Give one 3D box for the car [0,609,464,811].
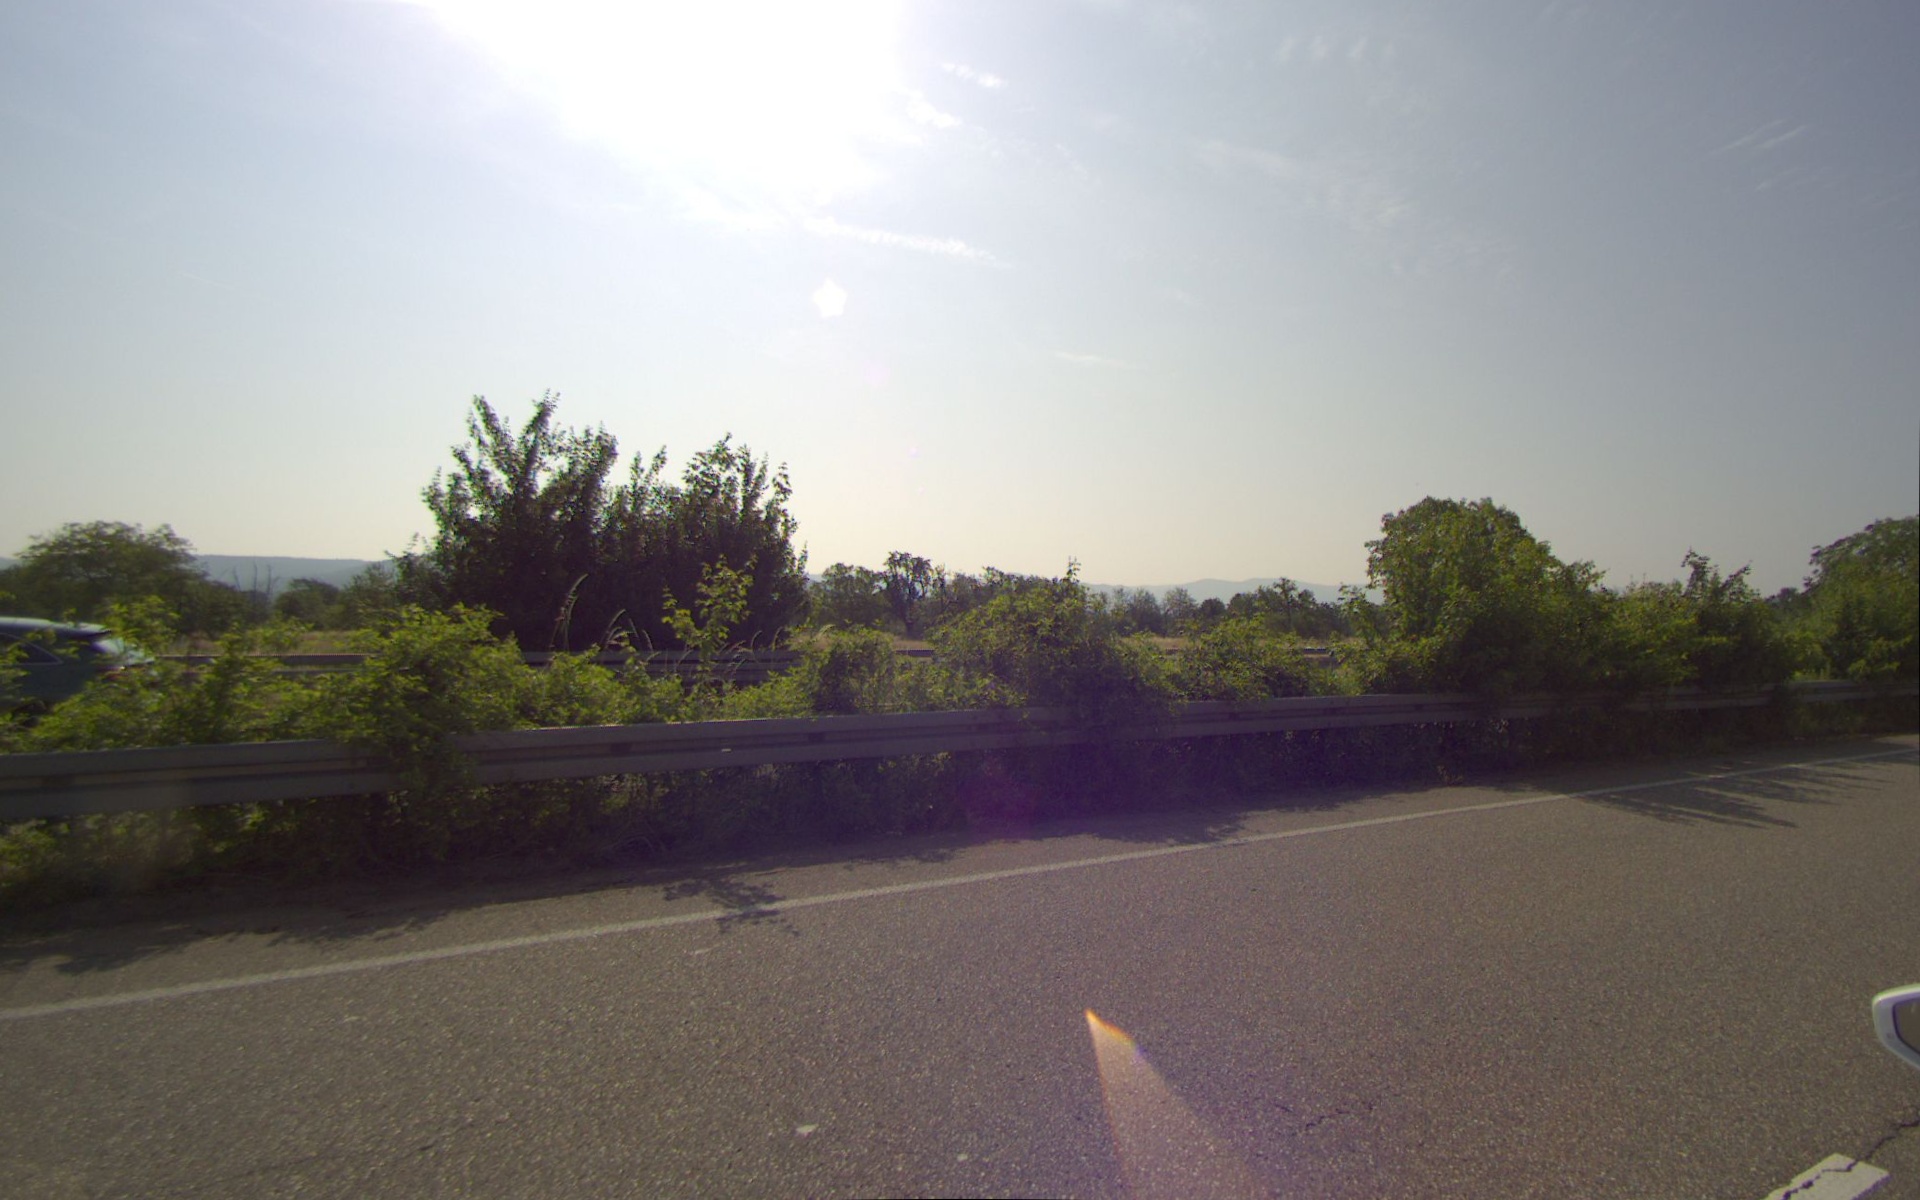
[{"bbox_3d":[-8.083,1.081,10.966,4.644,1.848,1.984,2,-1,-30],"label":"car"}]
